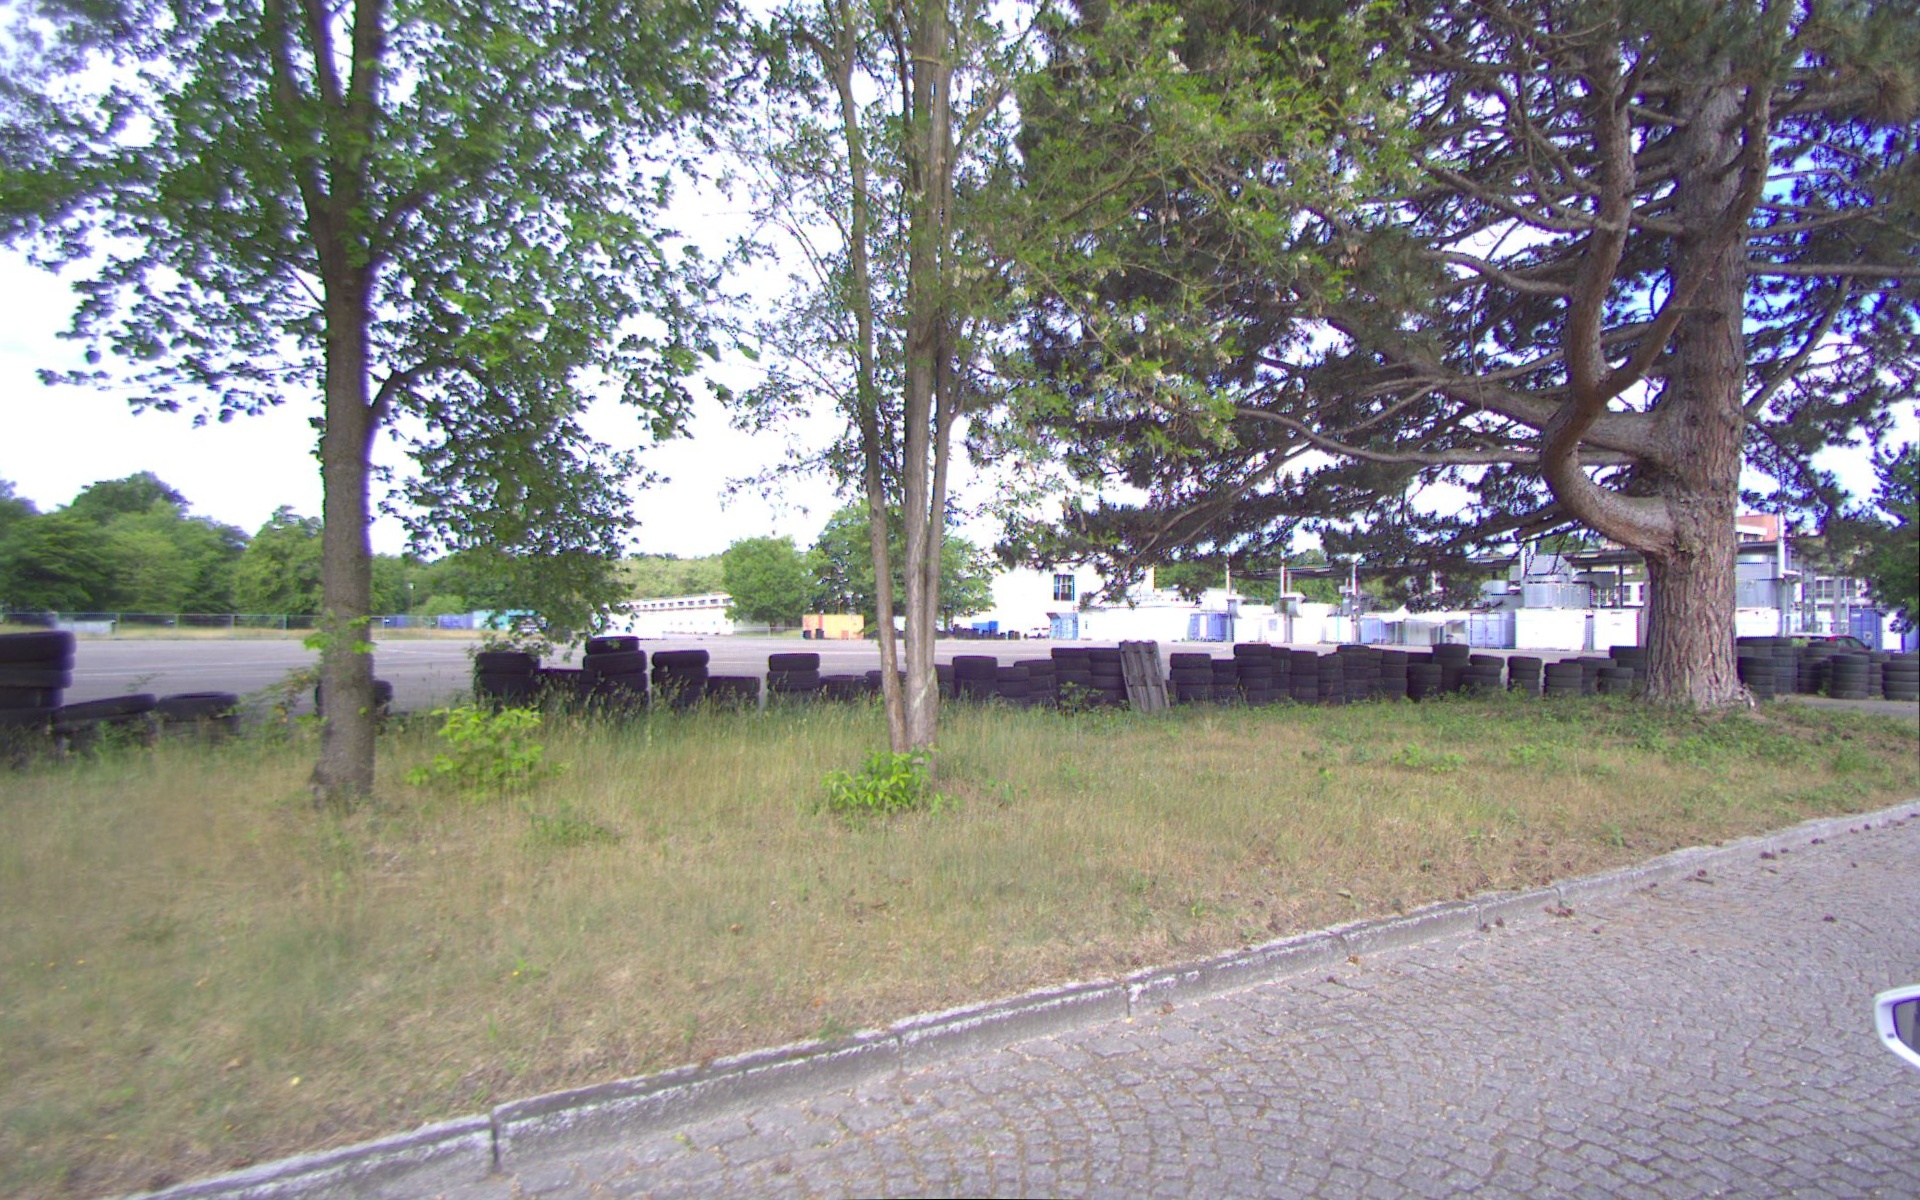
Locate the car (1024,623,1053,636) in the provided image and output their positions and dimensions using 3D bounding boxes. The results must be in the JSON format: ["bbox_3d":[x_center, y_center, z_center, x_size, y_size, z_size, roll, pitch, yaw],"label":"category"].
[{"bbox_3d":[9.862,3.723,126.422,1.808,1.655,4.087,1,-1,-29],"label":"car"}]

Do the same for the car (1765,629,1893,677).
[{"bbox_3d":[27.821,1.656,32.137,4.009,1.452,1.621,0,-1,-25],"label":"car"}]
